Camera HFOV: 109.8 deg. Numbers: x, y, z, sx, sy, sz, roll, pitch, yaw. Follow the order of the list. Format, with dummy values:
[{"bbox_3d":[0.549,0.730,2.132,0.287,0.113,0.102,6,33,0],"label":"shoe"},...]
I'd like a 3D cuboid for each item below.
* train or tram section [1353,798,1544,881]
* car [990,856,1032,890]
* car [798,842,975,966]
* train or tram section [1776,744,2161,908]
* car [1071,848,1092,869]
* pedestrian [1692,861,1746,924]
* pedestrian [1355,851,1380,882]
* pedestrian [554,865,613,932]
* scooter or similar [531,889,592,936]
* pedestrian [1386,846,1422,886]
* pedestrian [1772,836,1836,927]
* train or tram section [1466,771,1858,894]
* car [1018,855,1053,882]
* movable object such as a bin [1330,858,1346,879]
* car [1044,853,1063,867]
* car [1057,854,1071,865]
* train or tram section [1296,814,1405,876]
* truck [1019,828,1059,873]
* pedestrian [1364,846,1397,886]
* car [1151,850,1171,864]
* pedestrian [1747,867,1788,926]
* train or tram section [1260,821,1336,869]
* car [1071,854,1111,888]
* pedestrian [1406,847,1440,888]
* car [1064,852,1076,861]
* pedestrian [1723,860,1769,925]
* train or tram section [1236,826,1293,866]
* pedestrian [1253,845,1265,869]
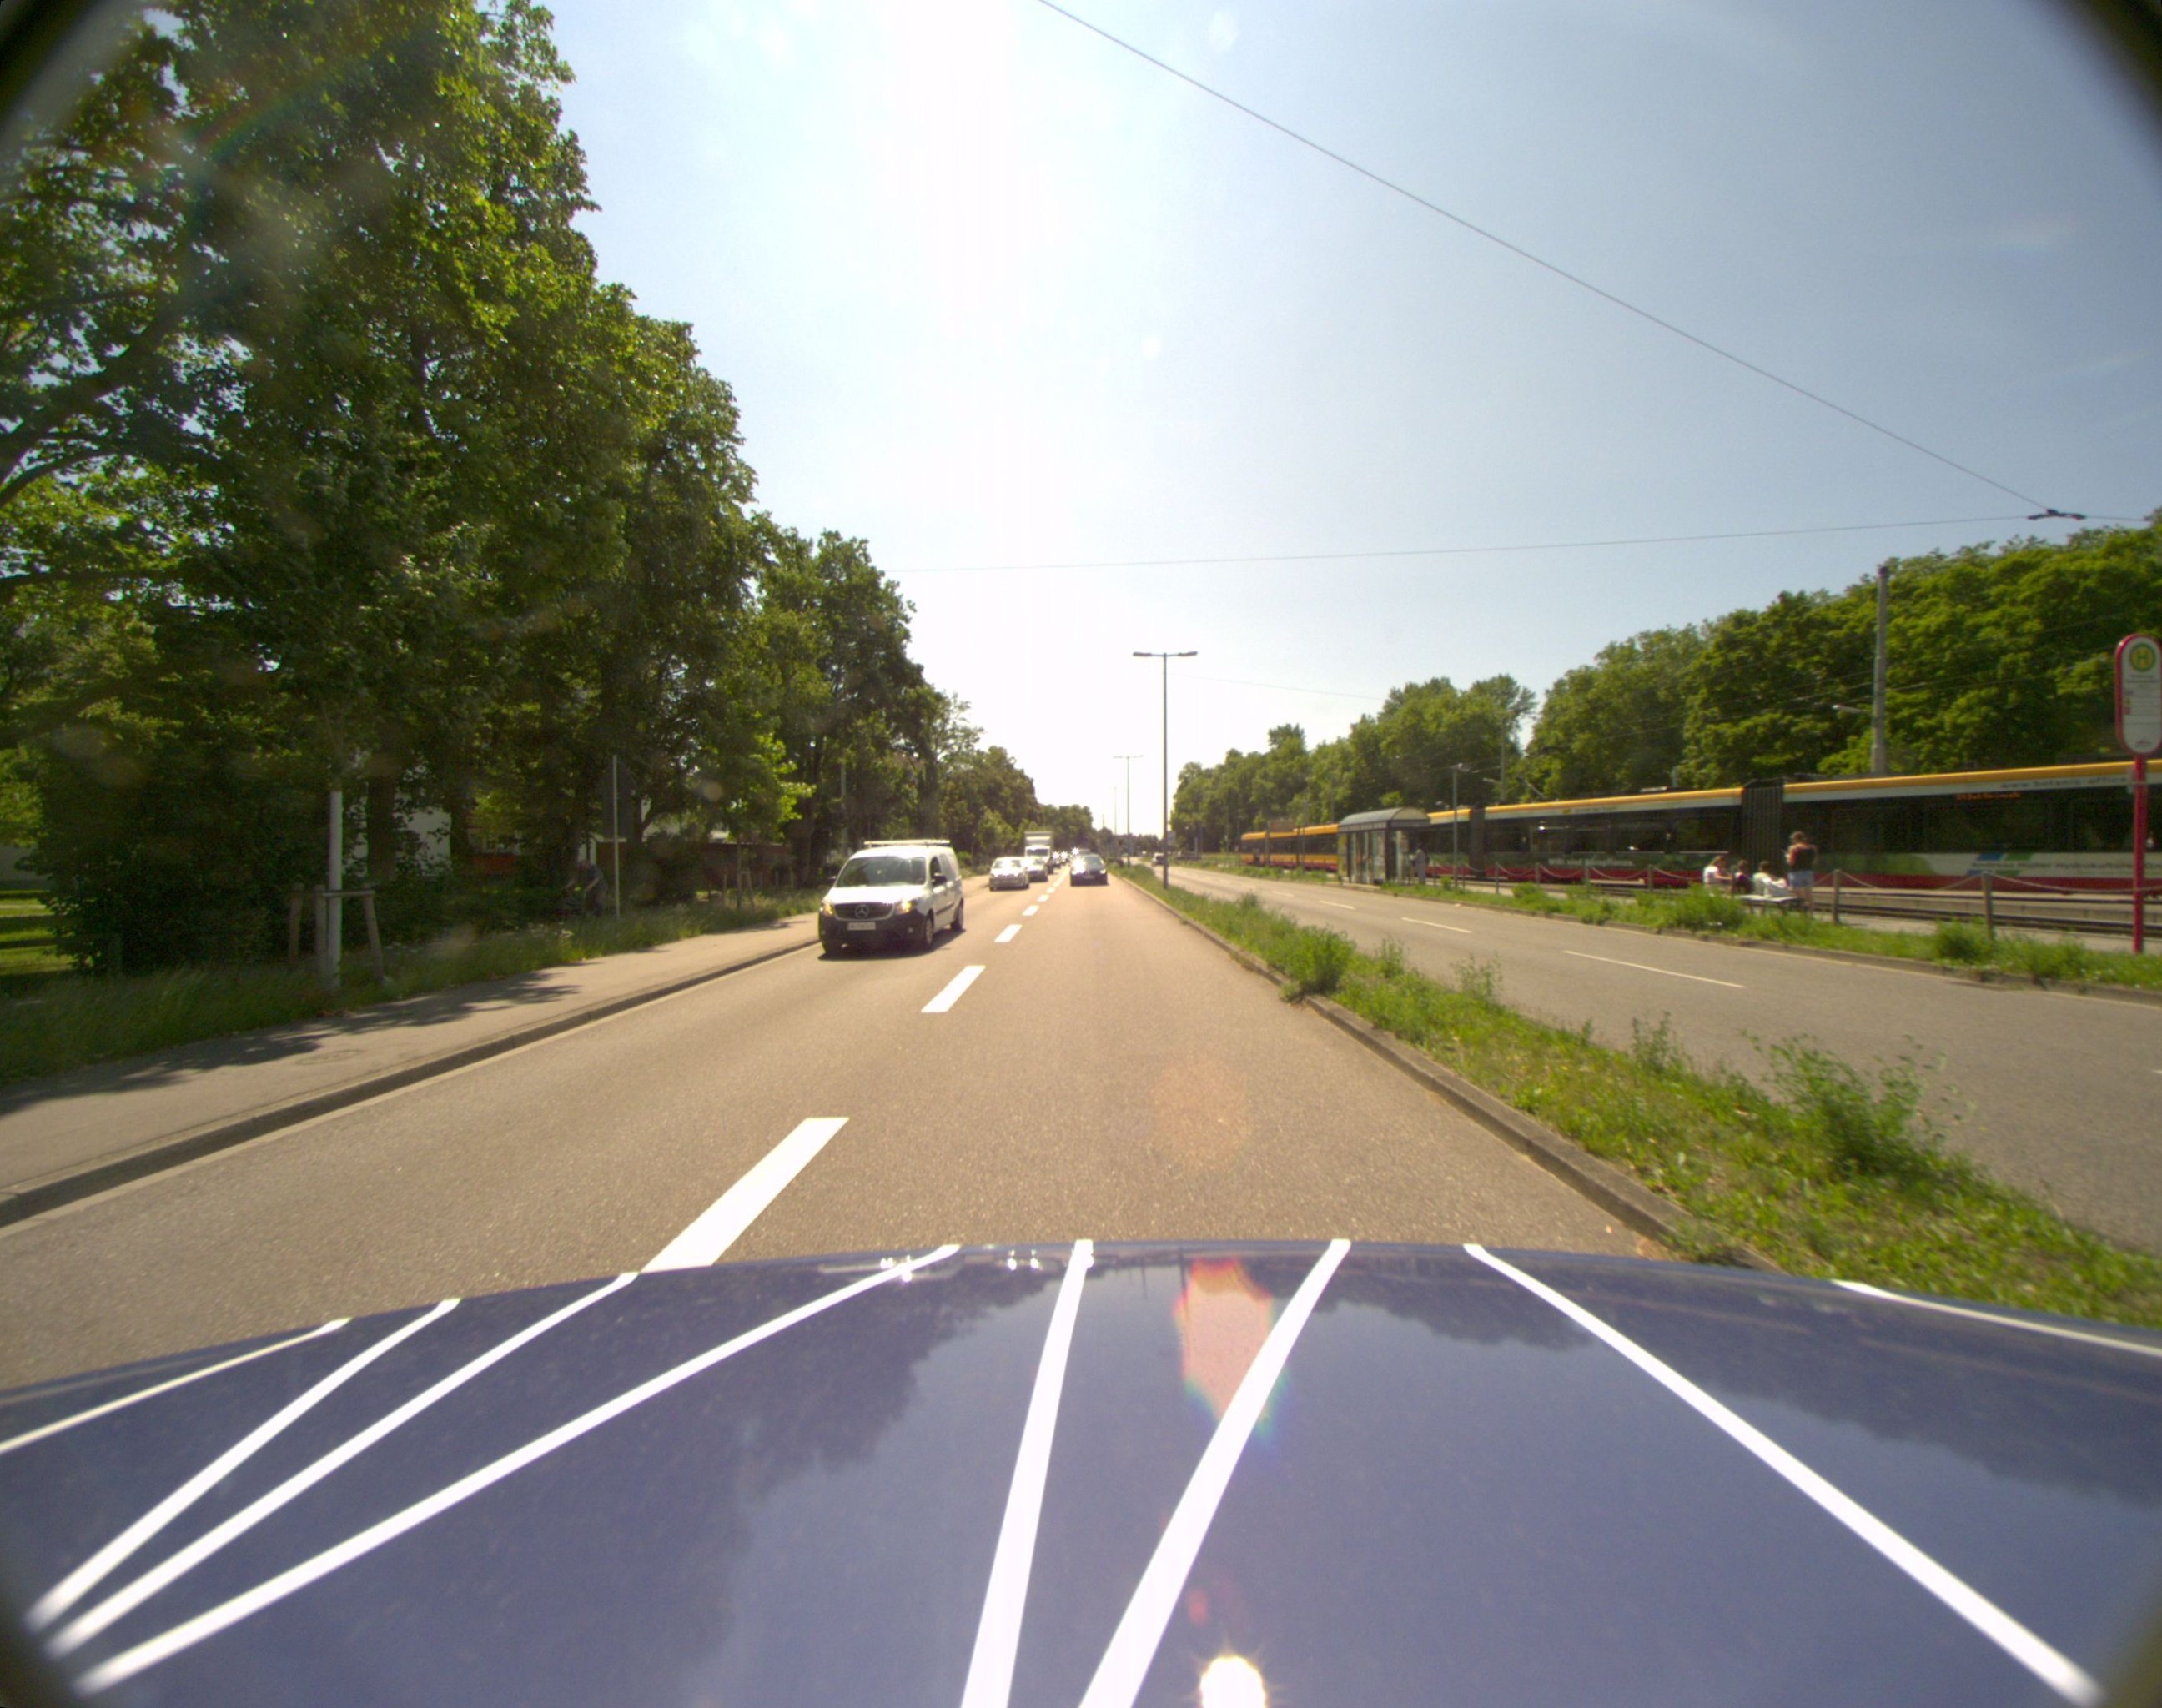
[{"bbox_3d":[18.789,-0.659,40.666,3.052,3.603,13.894,-2,0,-2],"label":"train or tram section"},{"bbox_3d":[-3.213,0.848,35.401,1.626,1.433,3.498,-2,0,-1],"label":"car"},{"bbox_3d":[-3.354,0.768,14.243,1.809,1.845,5.082,-2,0,1],"label":"car"},{"bbox_3d":[24.978,-0.663,17.835,3.057,3.603,12.425,-3,0,-27],"label":"train or tram section"},{"bbox_3d":[0.065,0.374,68.182,1.746,1.840,3.887,-1,1,1],"label":"car"},{"bbox_3d":[12.424,0.741,14.804,0.583,1.182,0.536,-2,1,-12],"label":"pedestrian"},{"bbox_3d":[12.036,0.517,31.950,0.703,1.276,0.840,-2,1,-2],"label":"pedestrian"},{"bbox_3d":[-10.848,0.962,16.583,0.710,1.390,0.763,-2,1,1],"label":"pedestrian"},{"bbox_3d":[-10.849,1.215,15.881,0.710,0.888,0.763,-2,1,1],"label":"scooter or similar"},{"bbox_3d":[12.731,0.463,30.004,0.933,1.537,0.985,-2,1,-2],"label":"pedestrian"},{"bbox_3d":[12.805,0.483,13.468,0.536,1.556,0.582,-2,1,-1],"label":"pedestrian"},{"bbox_3d":[20.545,-0.628,28.744,3.055,3.603,12.436,-2,0,-15],"label":"train or tram section"},{"bbox_3d":[-2.599,0.800,43.870,1.618,1.373,4.115,-2,0,2],"label":"car"},{"bbox_3d":[12.205,0.678,36.071,0.482,0.972,0.645,-1,1,-4],"label":"movable object such as a bin"},{"bbox_3d":[-2.903,0.594,81.053,1.746,1.382,3.887,-1,0,1],"label":"car"},{"bbox_3d":[-2.206,0.670,100.617,1.618,1.373,4.115,-2,0,2],"label":"car"},{"bbox_3d":[18.790,-0.594,54.287,3.051,3.745,13.261,-2,0,1],"label":"train or tram section"},{"bbox_3d":[-3.217,-0.291,59.744,2.489,3.277,6.605,-1,0,2],"label":"truck"},{"bbox_3d":[12.202,0.482,31.022,0.876,1.537,1.026,-2,1,-2],"label":"pedestrian"},{"bbox_3d":[9.018,0.293,85.831,1.774,1.496,3.719,-1,0,-1],"label":"car"},{"bbox_3d":[12.633,0.774,13.991,0.384,1.052,0.377,-2,1,-1],"label":"pedestrian"},{"bbox_3d":[18.886,-0.731,67.267,3.051,3.719,12.594,-2,0,0],"label":"train or tram section"},{"bbox_3d":[0.495,0.765,35.968,1.746,1.382,3.887,-3,0,1],"label":"car"},{"bbox_3d":[13.065,0.504,29.073,0.837,1.499,0.879,-2,1,-2],"label":"pedestrian"},{"bbox_3d":[-1.695,0.330,119.761,1.746,1.382,3.887,-1,0,1],"label":"car"},{"bbox_3d":[12.556,0.722,14.354,0.495,1.182,0.400,-2,1,-9],"label":"pedestrian"},{"bbox_3d":[18.941,-0.803,79.325,2.957,3.833,11.539,-2,0,0],"label":"train or tram section"},{"bbox_3d":[13.102,0.217,56.045,0.633,1.781,0.776,-2,1,-1],"label":"pedestrian"}]
